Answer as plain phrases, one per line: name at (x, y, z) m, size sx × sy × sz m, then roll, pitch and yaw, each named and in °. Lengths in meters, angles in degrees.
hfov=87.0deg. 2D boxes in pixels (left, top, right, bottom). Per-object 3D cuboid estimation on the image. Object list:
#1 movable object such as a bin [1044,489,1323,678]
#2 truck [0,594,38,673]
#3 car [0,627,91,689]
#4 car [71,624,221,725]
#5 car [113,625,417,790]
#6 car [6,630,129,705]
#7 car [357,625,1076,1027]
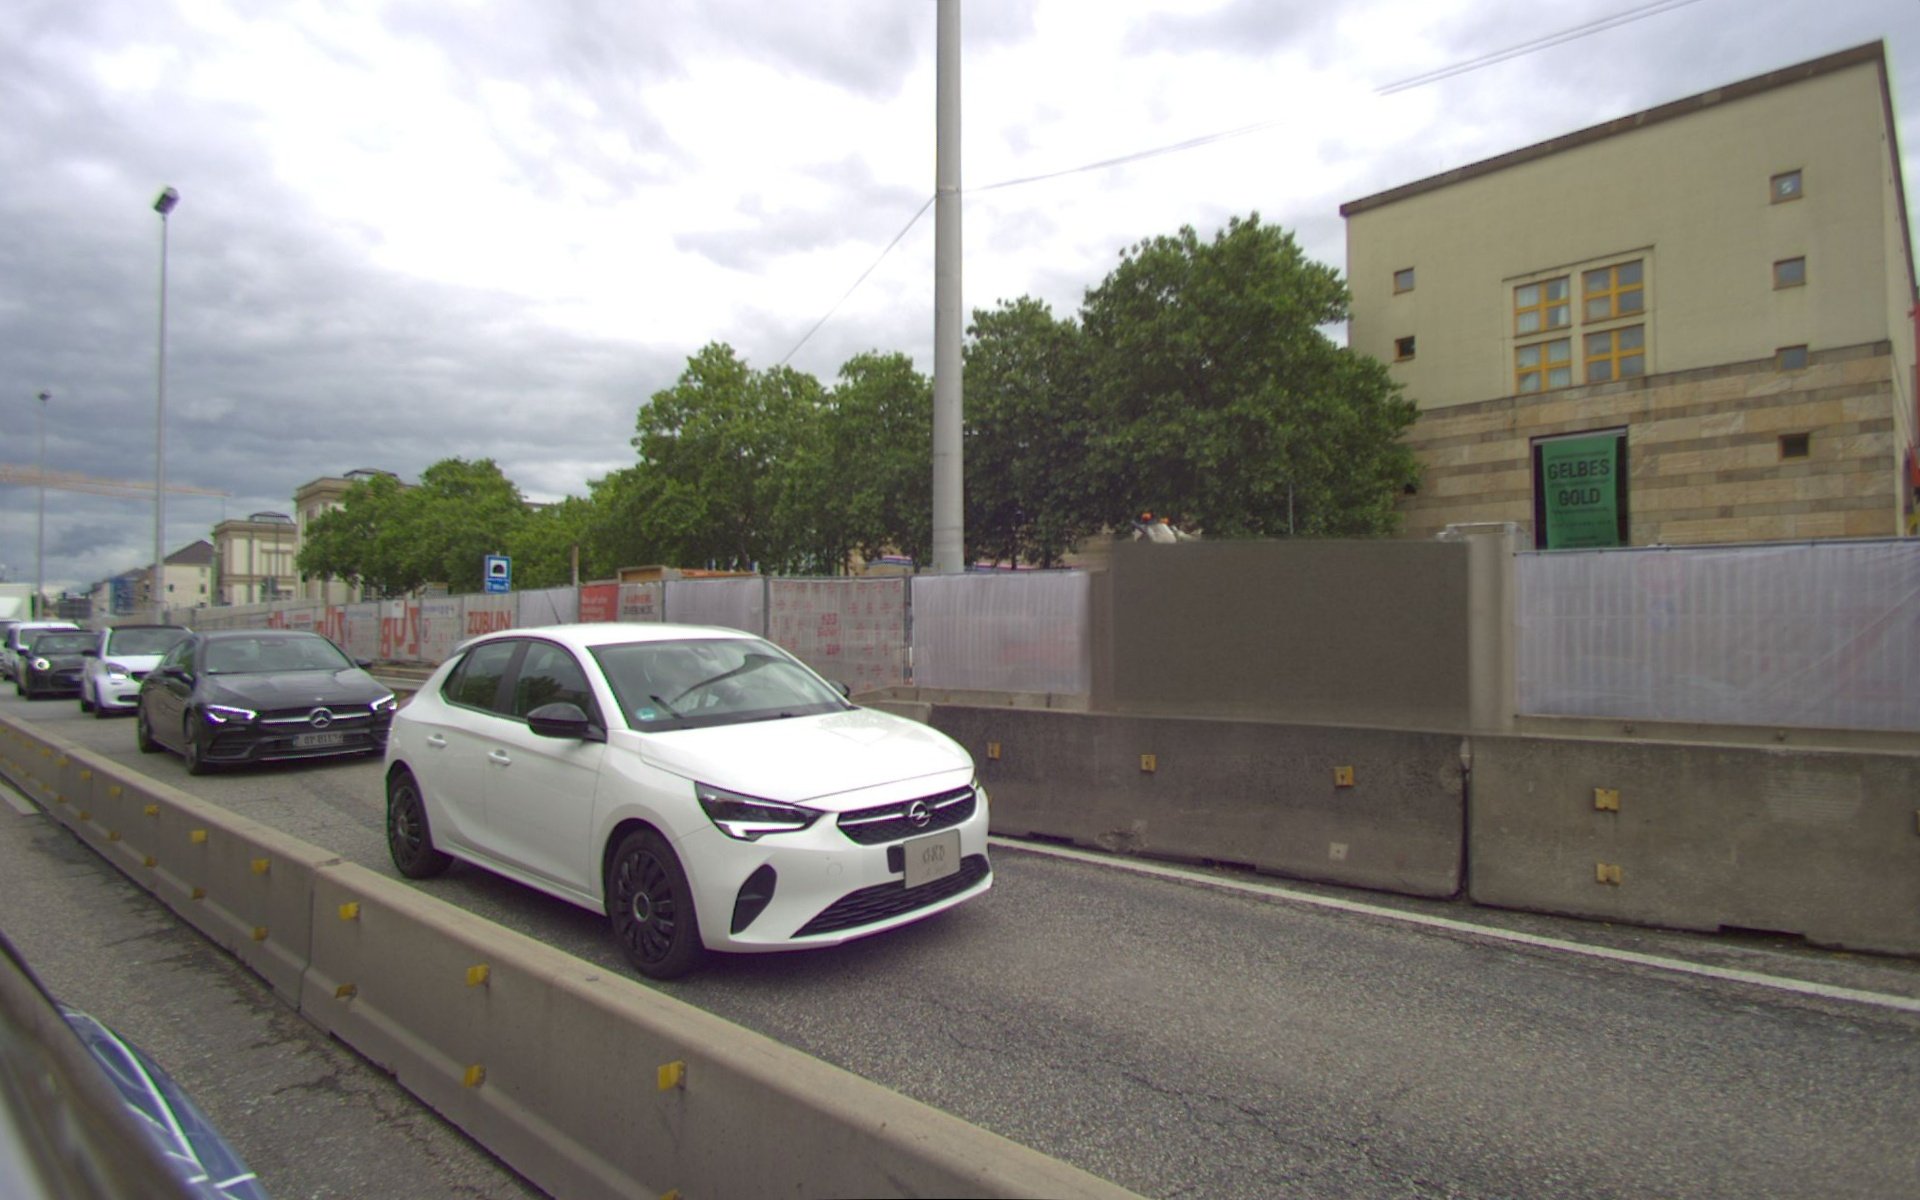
movable object such as a bin at (2.907, -0.144, 13.464) m, size 3.290 × 2.202 × 1.506 m, roll -2°, pitch -2°, yaw 40°
truck at (-37.276, 1.275, 38.428) m, size 7.257 × 2.795 × 2.937 m, roll -2°, pitch -2°, yaw 44°
car at (-28.107, 1.711, 30.952) m, size 4.480 × 1.774 × 1.818 m, roll -2°, pitch -2°, yaw 43°
car at (-14.300, 1.228, 17.737) m, size 3.002 × 1.566 × 1.612 m, roll -2°, pitch -1°, yaw 43°
car at (-7.926, 1.034, 11.350) m, size 4.565 × 1.426 × 1.834 m, roll -2°, pitch 0°, yaw 43°
car at (-19.578, 1.415, 22.150) m, size 3.935 × 1.450 × 1.629 m, roll -2°, pitch -1°, yaw 43°
car at (-1.507, 0.806, 5.340) m, size 3.932 × 1.306 × 1.709 m, roll -1°, pitch -1°, yaw 40°
